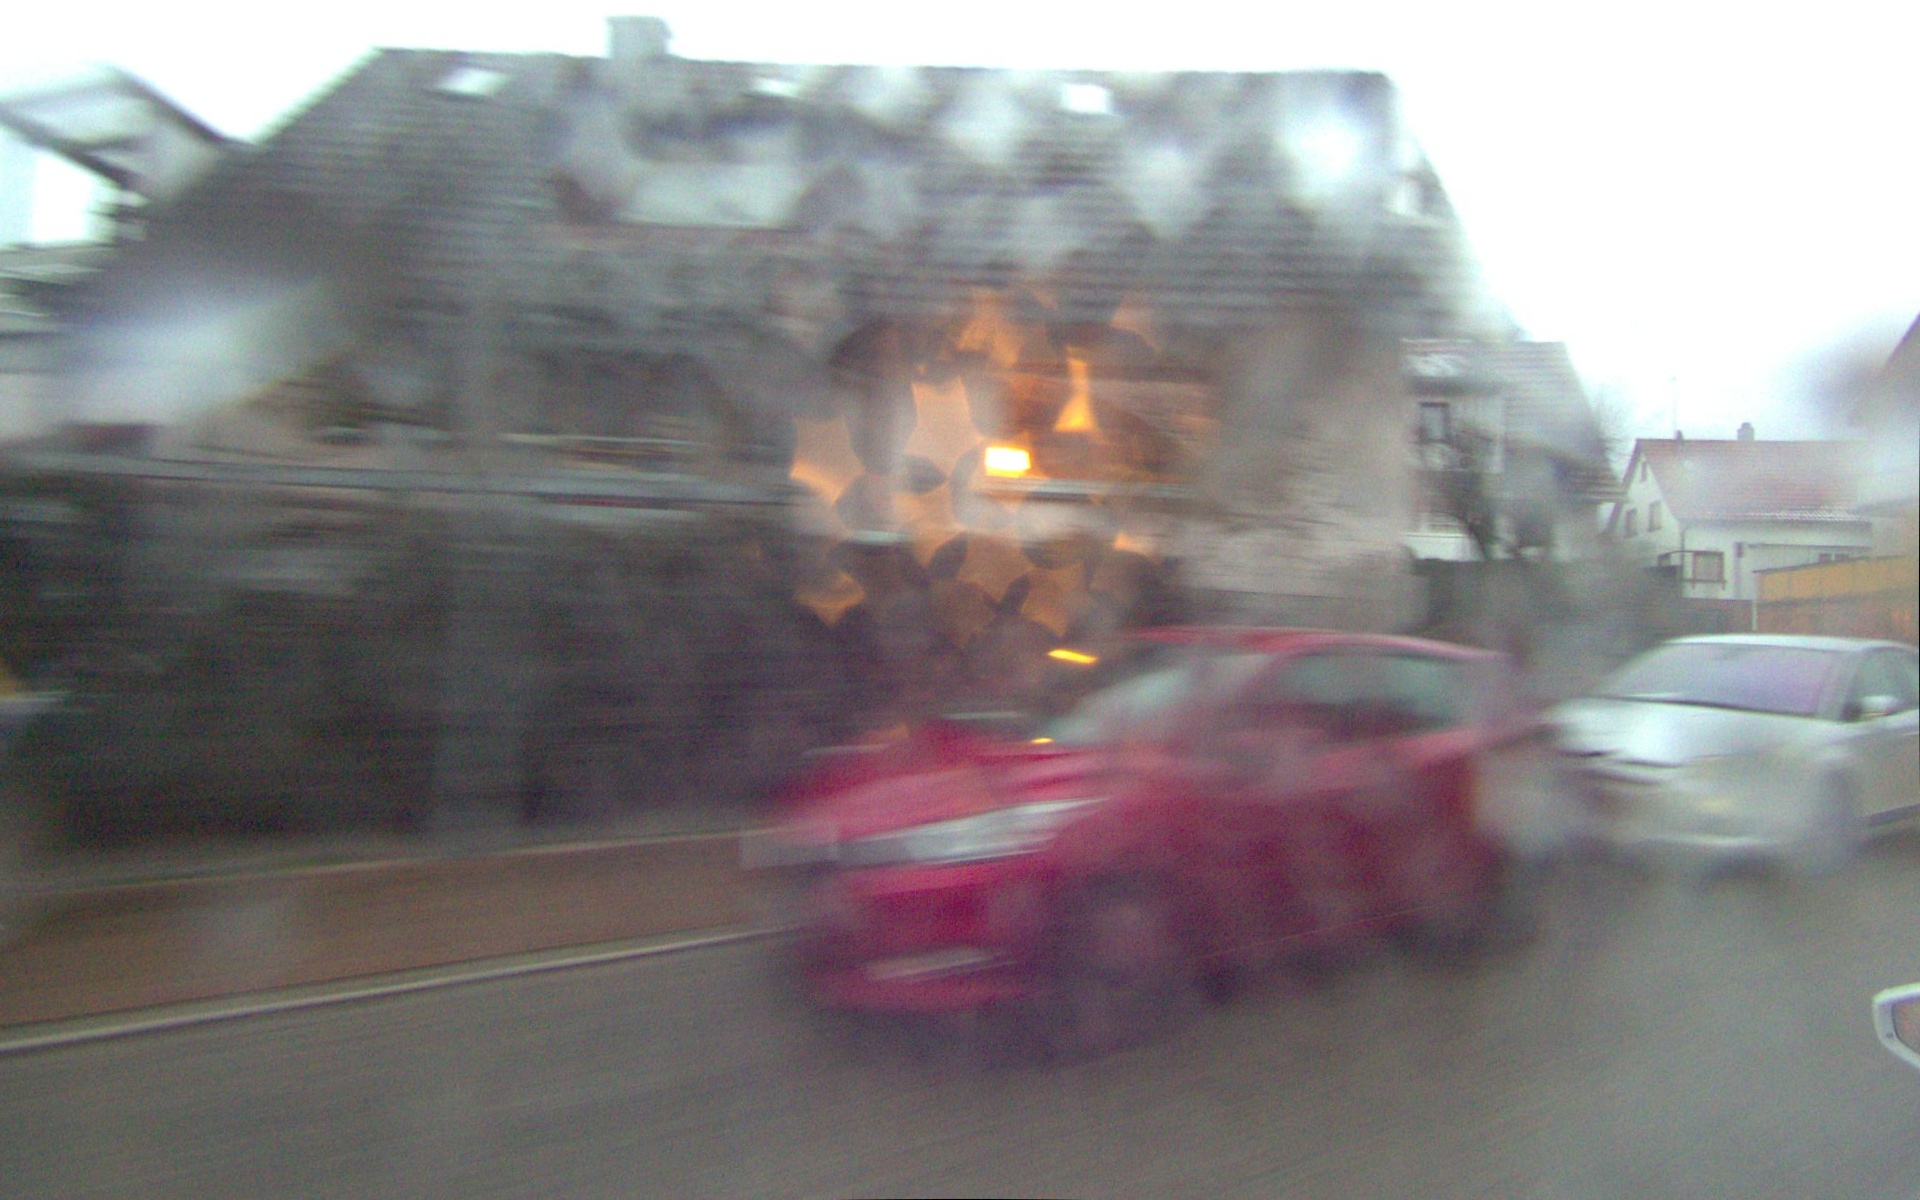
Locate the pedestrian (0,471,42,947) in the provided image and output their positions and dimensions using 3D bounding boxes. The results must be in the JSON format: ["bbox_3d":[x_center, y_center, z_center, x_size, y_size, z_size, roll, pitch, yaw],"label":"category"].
[{"bbox_3d":[-4.173,0.430,3.850,0.803,1.894,0.595,2,1,-30],"label":"pedestrian"}]

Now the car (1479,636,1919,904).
[{"bbox_3d":[5.804,0.996,7.263,4.098,1.407,1.740,1,-1,-30],"label":"car"}]

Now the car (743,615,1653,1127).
[{"bbox_3d":[1.221,0.837,4.713,4.019,1.460,1.815,1,-1,-30],"label":"car"}]
